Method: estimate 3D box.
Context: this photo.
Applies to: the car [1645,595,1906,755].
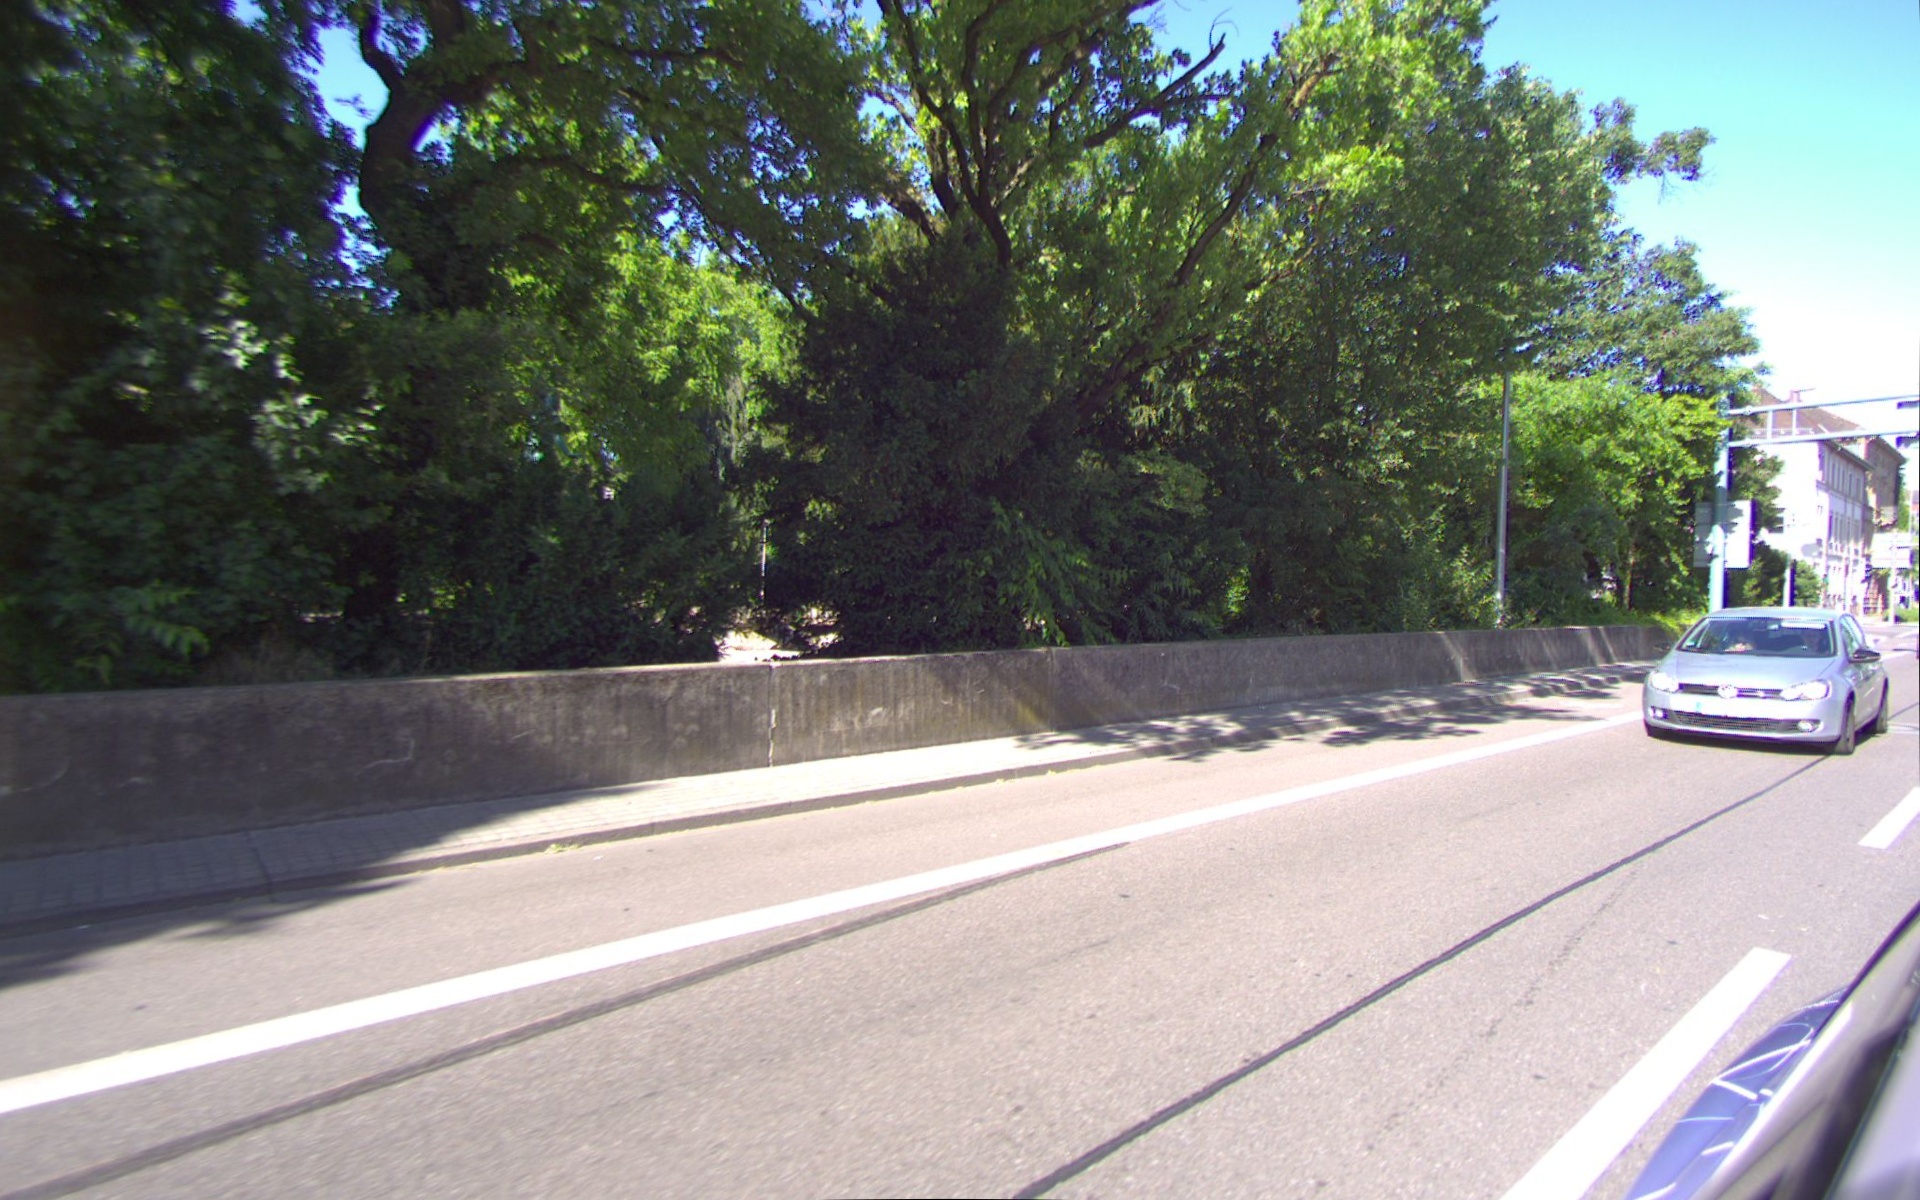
[{"bbox_3d":[9.340,0.694,11.477,3.931,1.493,1.701,0,1,-42],"label":"car"}]
